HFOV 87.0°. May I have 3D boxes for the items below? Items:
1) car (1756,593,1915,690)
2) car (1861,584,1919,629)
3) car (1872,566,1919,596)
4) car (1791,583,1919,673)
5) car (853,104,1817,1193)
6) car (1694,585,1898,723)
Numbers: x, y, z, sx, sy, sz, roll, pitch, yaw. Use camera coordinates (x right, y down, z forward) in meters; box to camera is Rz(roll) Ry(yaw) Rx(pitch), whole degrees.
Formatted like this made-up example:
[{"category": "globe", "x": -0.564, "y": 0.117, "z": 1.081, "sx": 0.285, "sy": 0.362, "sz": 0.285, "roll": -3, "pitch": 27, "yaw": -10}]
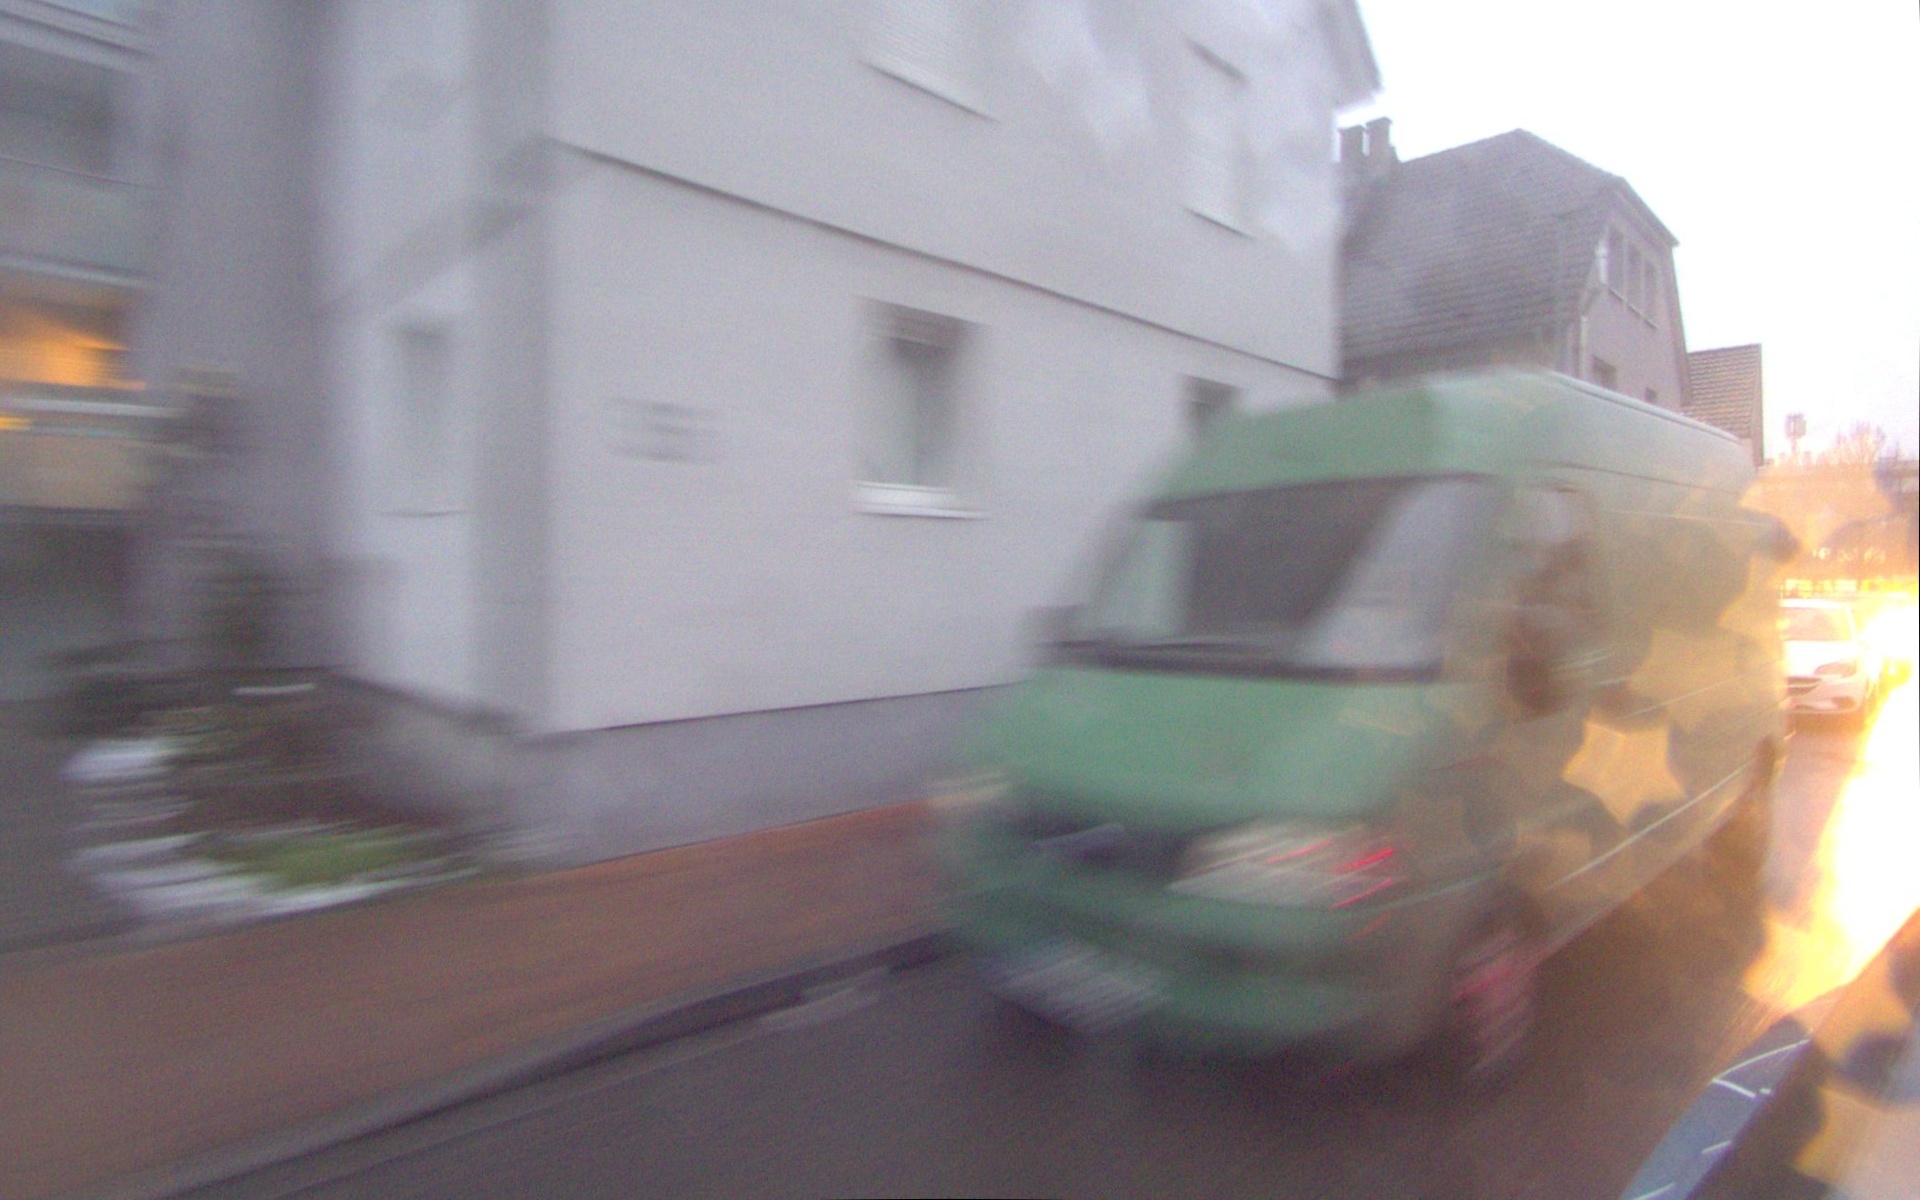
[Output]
[{"category": "car", "x": 14.931, "y": 0.598, "z": 17.180, "sx": 4.234, "sy": 1.424, "sz": 1.736, "roll": 0, "pitch": 1, "yaw": -45}, {"category": "car", "x": 34.485, "y": 0.198, "z": 37.057, "sx": 1.983, "sy": 1.577, "sz": 4.176, "roll": 1, "pitch": 1, "yaw": 39}, {"category": "car", "x": 61.523, "y": -1.214, "z": 65.549, "sx": 1.829, "sy": 1.907, "sz": 4.855, "roll": 0, "pitch": 1, "yaw": 19}, {"category": "car", "x": 17.992, "y": 0.456, "z": 20.169, "sx": 4.235, "sy": 1.558, "sz": 1.811, "roll": -2, "pitch": 2, "yaw": -45}, {"category": "car", "x": 2.317, "y": 0.088, "z": 4.899, "sx": 5.517, "sy": 2.485, "sz": 2.012, "roll": 0, "pitch": 0, "yaw": -41}, {"category": "car", "x": 10.958, "y": 0.571, "z": 13.151, "sx": 4.300, "sy": 1.496, "sz": 1.644, "roll": 0, "pitch": 1, "yaw": -45}]
